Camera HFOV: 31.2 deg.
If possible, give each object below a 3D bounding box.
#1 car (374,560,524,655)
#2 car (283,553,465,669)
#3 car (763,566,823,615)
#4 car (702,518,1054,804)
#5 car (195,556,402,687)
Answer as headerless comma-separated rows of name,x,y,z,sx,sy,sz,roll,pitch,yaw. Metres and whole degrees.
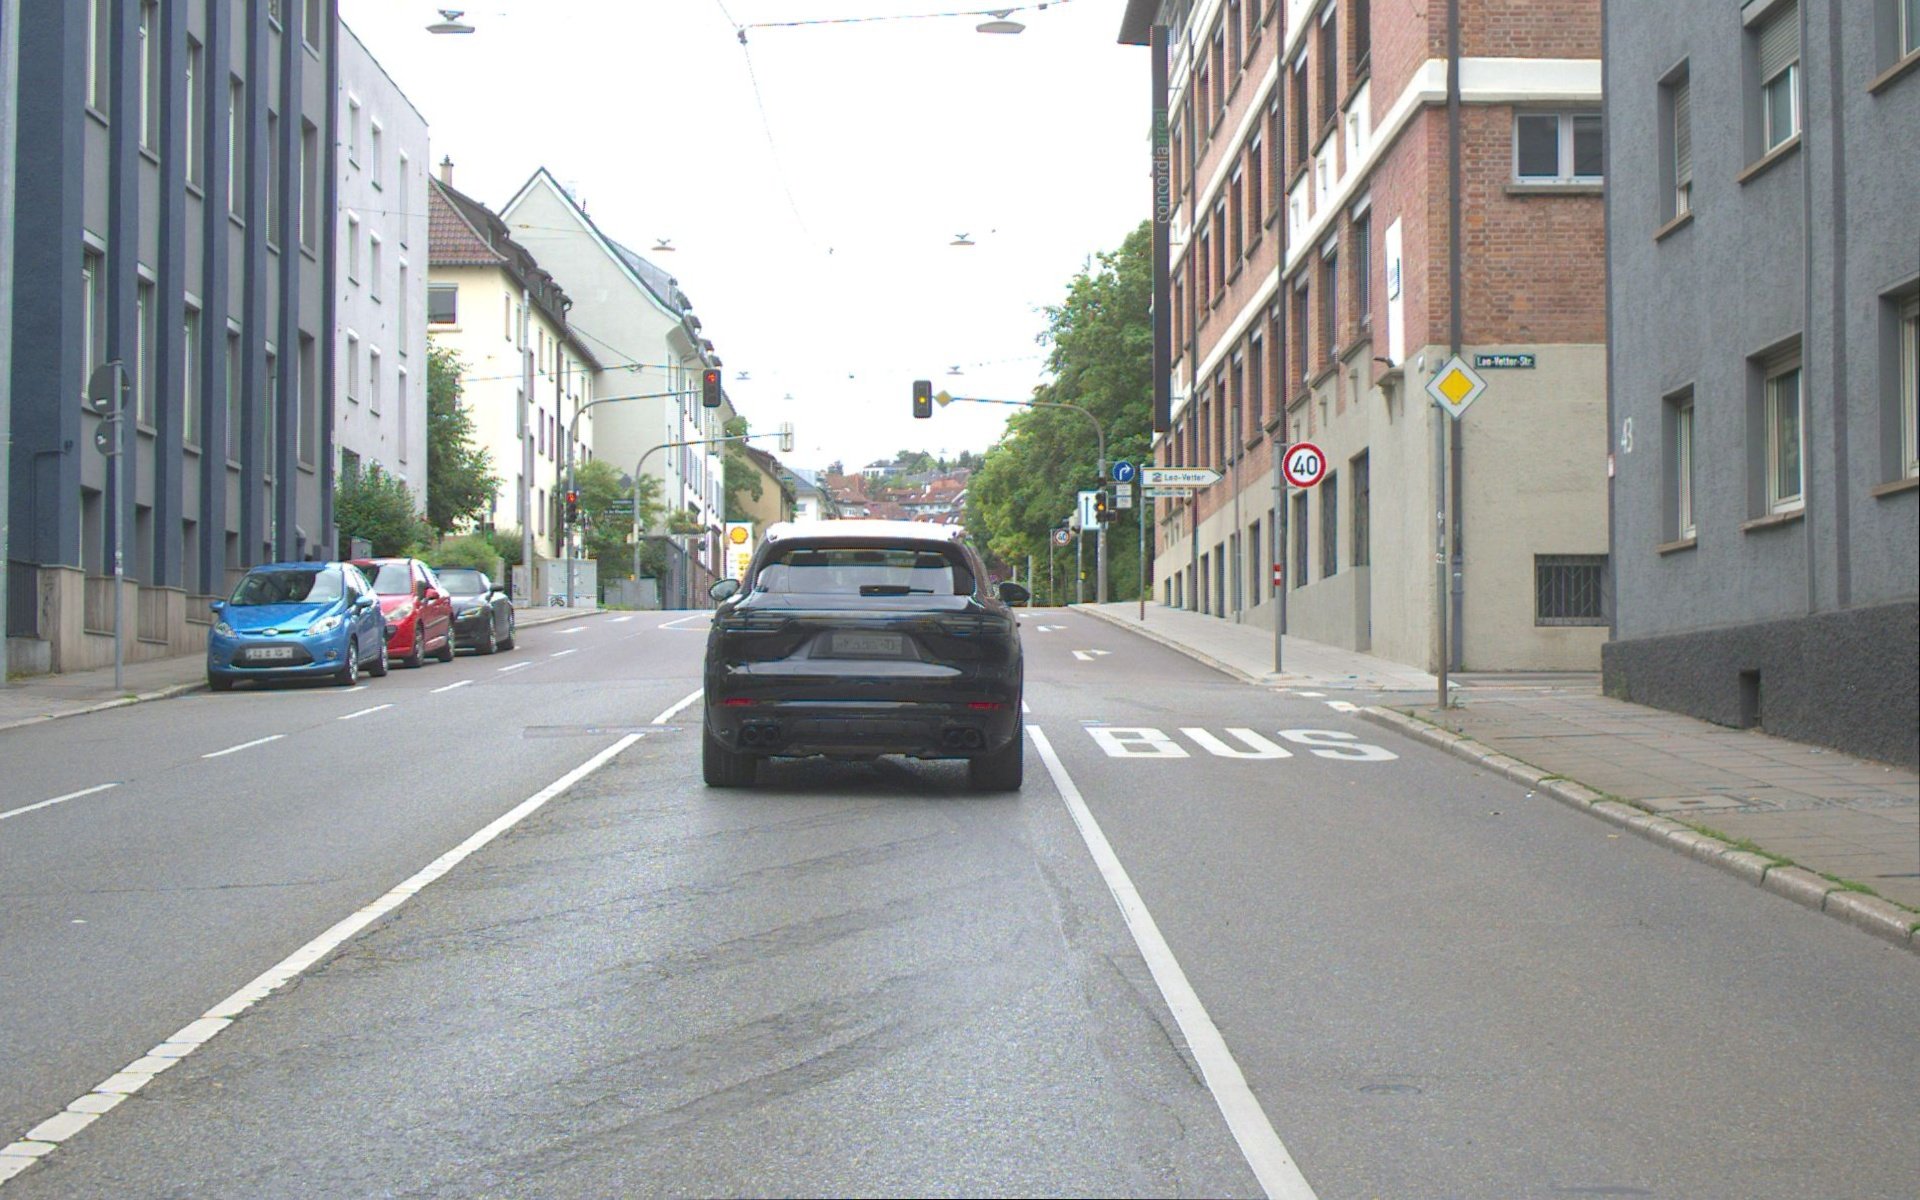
car,-7.816,0.092,52.885,1.714,1.336,3.904,-2,1,-1
car,-7.949,0.116,46.941,1.714,1.451,3.989,-2,1,1
car,-6.182,-0.363,127.550,1.897,1.686,4.000,-2,1,1
car,-0.643,0.338,22.495,2.023,1.636,4.356,2,1,-4
car,-7.896,0.218,41.356,1.714,1.419,3.989,-2,1,-1
